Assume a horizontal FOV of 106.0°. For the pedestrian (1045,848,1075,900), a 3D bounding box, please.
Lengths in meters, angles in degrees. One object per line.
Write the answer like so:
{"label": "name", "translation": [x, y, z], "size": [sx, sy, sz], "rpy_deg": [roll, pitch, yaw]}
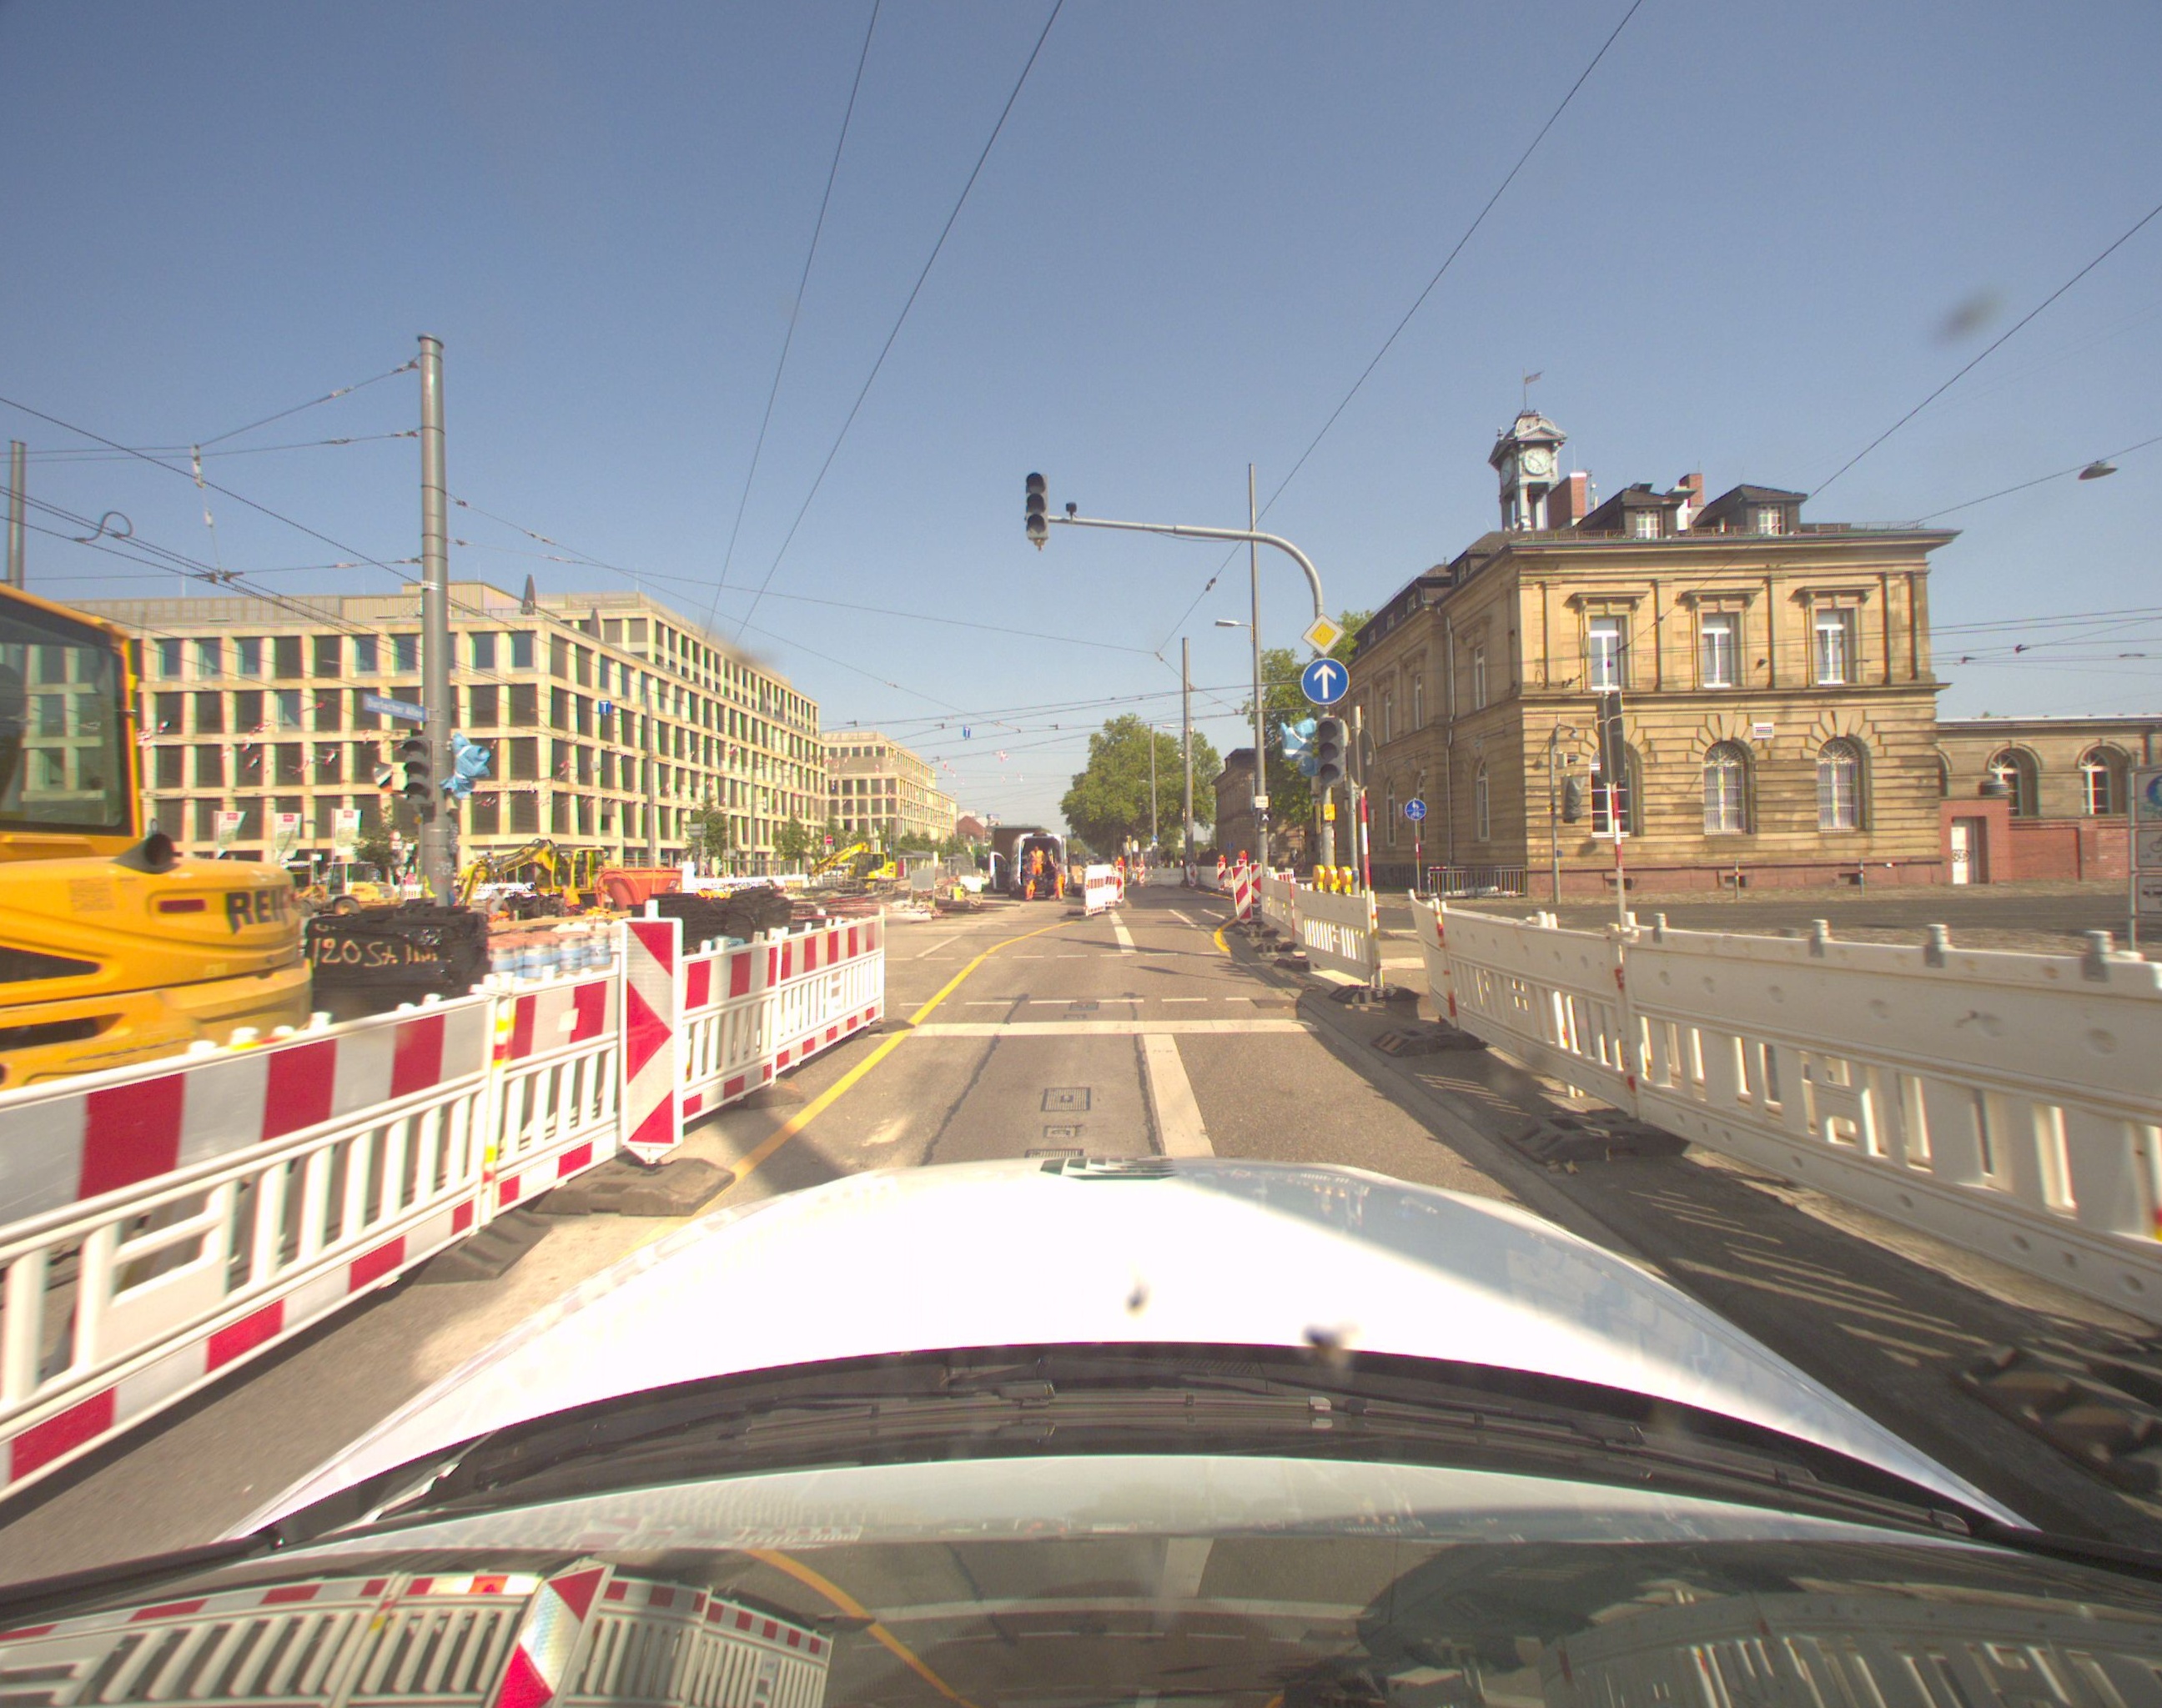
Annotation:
{"label": "pedestrian", "translation": [-0.818, 0.804, 32.228], "size": [0.727, 2.014, 0.913], "rpy_deg": [-3, -2, 35]}

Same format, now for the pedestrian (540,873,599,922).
{"label": "pedestrian", "translation": [-15.768, 1.333, 25.140], "size": [1.137, 1.442, 1.021], "rpy_deg": [-2, -1, 2]}

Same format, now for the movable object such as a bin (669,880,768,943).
{"label": "movable object such as a bin", "translation": [-7.518, 1.155, 17.026], "size": [0.746, 1.170, 2.296], "rpy_deg": [-2, -1, 9]}

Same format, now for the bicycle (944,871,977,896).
{"label": "bicycle", "translation": [-5.756, 1.403, 38.843], "size": [1.641, 1.136, 0.621], "rpy_deg": [-3, -2, 44]}

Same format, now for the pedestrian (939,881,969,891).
{"label": "pedestrian", "translation": [-8.872, 2.255, 56.917], "size": [1.893, 0.636, 0.913], "rpy_deg": [-2, -1, 5]}

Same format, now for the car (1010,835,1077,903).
{"label": "car", "translation": [-1.741, 0.663, 35.764], "size": [2.225, 2.729, 5.152], "rpy_deg": [-1, -1, -10]}

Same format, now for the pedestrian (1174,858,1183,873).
{"label": "pedestrian", "translation": [11.887, 1.425, 99.307], "size": [0.816, 1.686, 1.012], "rpy_deg": [-6, -1, 2]}

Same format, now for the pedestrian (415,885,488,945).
{"label": "pedestrian", "translation": [-15.980, 1.523, 20.699], "size": [1.137, 1.442, 0.918], "rpy_deg": [-2, -1, 2]}

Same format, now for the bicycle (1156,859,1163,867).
{"label": "bicycle", "translation": [9.770, 1.130, 101.625], "size": [0.715, 1.042, 1.902], "rpy_deg": [-2, -1, -1]}

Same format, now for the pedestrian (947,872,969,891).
{"label": "pedestrian", "translation": [-9.100, 2.037, 60.226], "size": [1.300, 1.306, 0.803], "rpy_deg": [-2, -1, 25]}

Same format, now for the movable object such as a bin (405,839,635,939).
{"label": "movable object such as a bin", "translation": [-21.540, 1.263, 32.087], "size": [2.834, 3.330, 8.352], "rpy_deg": [-2, -1, 3]}

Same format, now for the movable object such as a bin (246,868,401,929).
{"label": "movable object such as a bin", "translation": [-36.953, 2.153, 39.818], "size": [5.593, 2.739, 2.135], "rpy_deg": [-2, -1, 1]}

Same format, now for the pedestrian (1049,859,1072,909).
{"label": "pedestrian", "translation": [-0.836, 1.213, 33.179], "size": [0.730, 2.014, 0.909], "rpy_deg": [-2, -1, 8]}

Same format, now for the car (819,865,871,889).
{"label": "car", "translation": [-21.497, 2.070, 74.472], "size": [1.796, 2.030, 5.145], "rpy_deg": [-2, 0, 20]}

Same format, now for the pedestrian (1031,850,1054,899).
{"label": "pedestrian", "translation": [-1.607, 0.840, 34.297], "size": [0.730, 2.014, 0.909], "rpy_deg": [-2, -1, 7]}

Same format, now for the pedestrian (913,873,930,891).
{"label": "pedestrian", "translation": [-11.956, 2.086, 61.033], "size": [1.010, 1.306, 0.984], "rpy_deg": [-2, -1, 5]}

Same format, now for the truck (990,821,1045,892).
{"label": "truck", "translation": [-3.796, 0.206, 47.000], "size": [2.672, 3.678, 8.192], "rpy_deg": [-2, -1, -7]}

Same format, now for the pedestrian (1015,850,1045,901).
{"label": "pedestrian", "translation": [-2.050, 0.847, 32.770], "size": [0.727, 2.014, 0.913], "rpy_deg": [-3, -2, 33]}

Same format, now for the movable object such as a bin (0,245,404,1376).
{"label": "movable object such as a bin", "translation": [-6.311, -0.090, 2.471], "size": [6.160, 3.346, 2.103], "rpy_deg": [-1, -1, -18]}

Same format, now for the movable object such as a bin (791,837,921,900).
{"label": "movable object such as a bin", "translation": [-15.315, 0.938, 56.432], "size": [3.471, 4.013, 9.094], "rpy_deg": [-2, -1, 25]}

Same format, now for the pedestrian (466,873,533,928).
{"label": "pedestrian", "translation": [-15.929, 1.268, 22.340], "size": [1.137, 1.442, 0.918], "rpy_deg": [-2, -1, 2]}

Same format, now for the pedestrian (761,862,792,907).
{"label": "pedestrian", "translation": [-13.033, 1.298, 34.833], "size": [1.023, 1.866, 1.135], "rpy_deg": [-1, -2, -30]}
